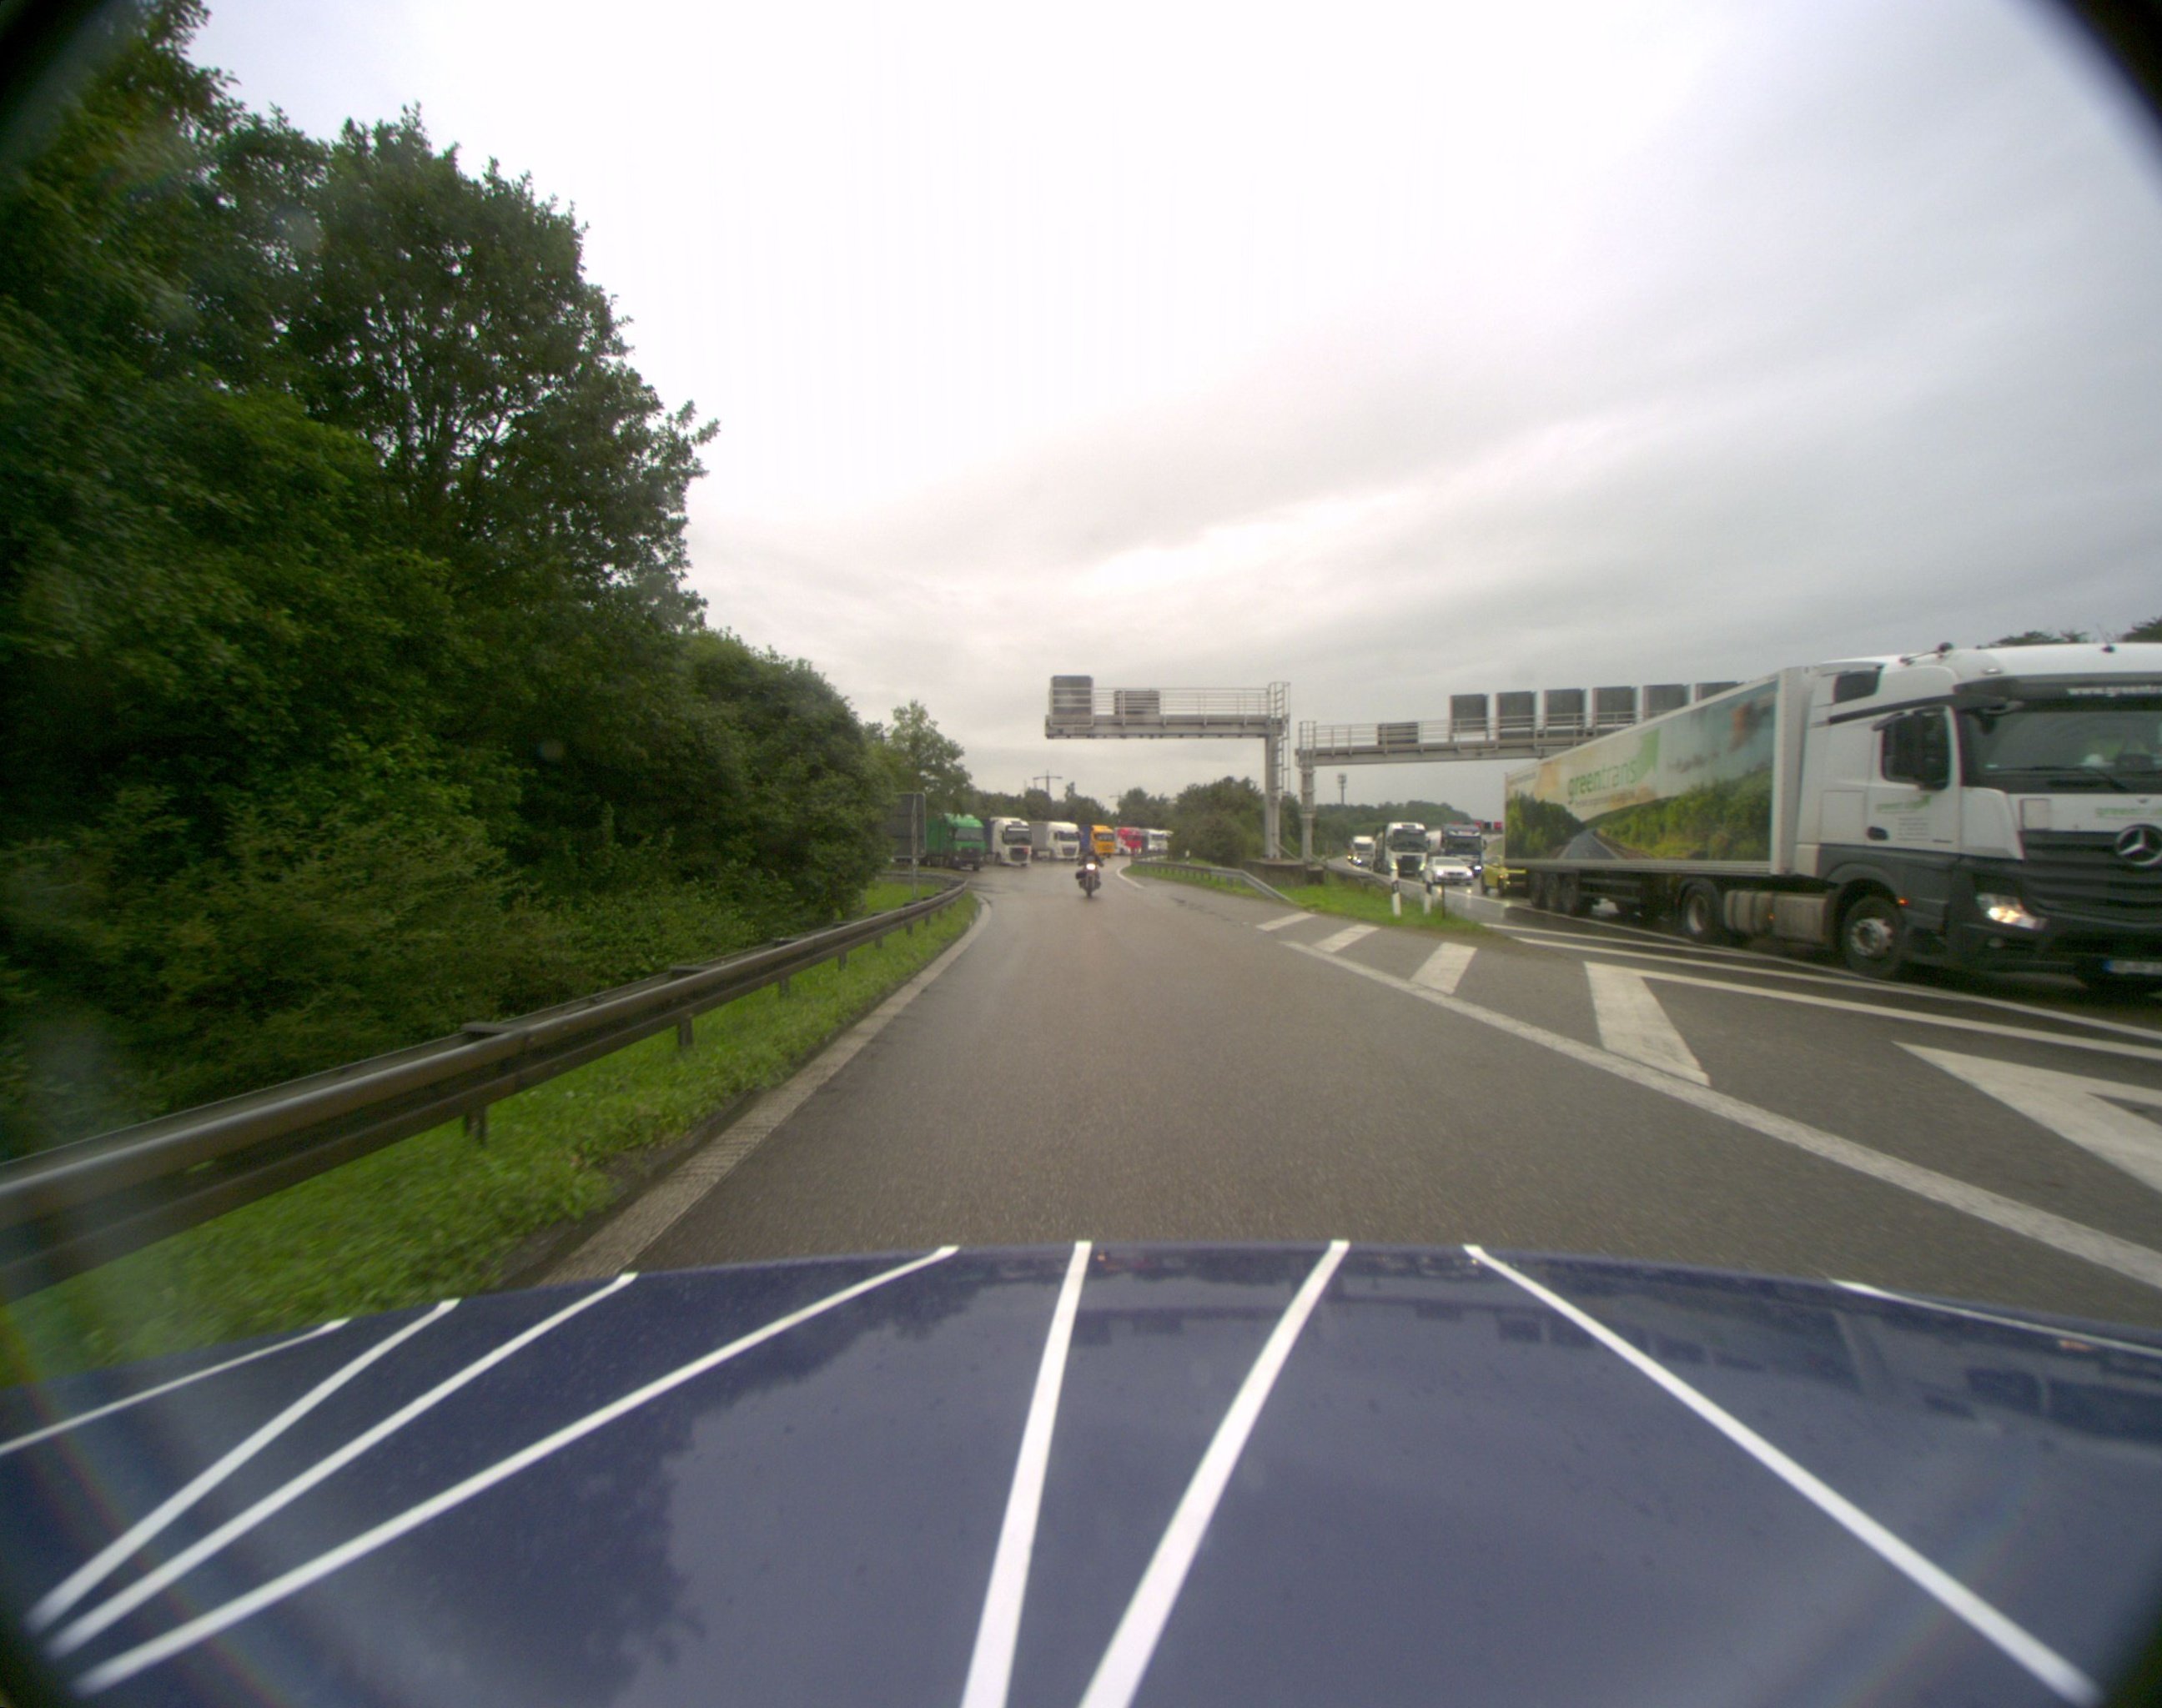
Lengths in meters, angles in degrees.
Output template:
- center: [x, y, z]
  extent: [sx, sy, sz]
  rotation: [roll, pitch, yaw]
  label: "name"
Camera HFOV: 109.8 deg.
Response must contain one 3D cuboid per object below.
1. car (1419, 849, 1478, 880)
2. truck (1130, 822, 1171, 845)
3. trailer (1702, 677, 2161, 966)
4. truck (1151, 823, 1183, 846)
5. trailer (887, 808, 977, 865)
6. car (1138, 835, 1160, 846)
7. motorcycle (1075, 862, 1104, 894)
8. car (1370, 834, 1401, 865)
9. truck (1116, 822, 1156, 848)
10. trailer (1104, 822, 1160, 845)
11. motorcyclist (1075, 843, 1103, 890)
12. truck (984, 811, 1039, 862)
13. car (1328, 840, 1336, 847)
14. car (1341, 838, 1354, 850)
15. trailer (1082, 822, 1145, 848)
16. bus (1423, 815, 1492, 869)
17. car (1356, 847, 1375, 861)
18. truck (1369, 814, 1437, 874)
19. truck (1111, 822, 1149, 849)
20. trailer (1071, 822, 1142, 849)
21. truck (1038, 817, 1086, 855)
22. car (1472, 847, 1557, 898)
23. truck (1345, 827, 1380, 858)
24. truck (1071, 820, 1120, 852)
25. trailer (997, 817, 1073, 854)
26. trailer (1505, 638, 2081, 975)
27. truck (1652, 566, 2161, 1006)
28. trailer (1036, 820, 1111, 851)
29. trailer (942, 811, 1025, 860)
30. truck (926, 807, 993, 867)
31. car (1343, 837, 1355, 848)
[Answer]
- center: [19.435, 0.502, 40.383]
  extent: [1.930, 1.514, 4.767]
  rotation: [0, 1, 14]
  label: "car"
- center: [12.662, -3.784, 139.302]
  extent: [3.251, 4.068, 7.917]
  rotation: [-1, 2, -31]
  label: "truck"
- center: [16.559, -0.456, 13.644]
  extent: [2.630, 3.842, 13.689]
  rotation: [1, 1, 14]
  label: "trailer"
- center: [16.657, -3.827, 147.383]
  extent: [3.251, 4.362, 5.798]
  rotation: [-2, 2, -31]
  label: "truck"
- center: [-12.401, -1.464, 61.648]
  extent: [2.831, 4.127, 13.931]
  rotation: [-1, 2, -30]
  label: "trailer"
- center: [11.880, -2.319, 133.225]
  extent: [1.851, 1.848, 3.990]
  rotation: [-2, 2, -29]
  label: "car"
- center: [0.262, 0.805, 26.130]
  extent: [0.878, 1.016, 2.352]
  rotation: [0, 1, -2]
  label: "motorcycle"
- center: [29.483, -0.485, 73.694]
  extent: [2.365, 2.628, 6.904]
  rotation: [-3, 1, 20]
  label: "car"
- center: [8.306, -2.893, 115.508]
  extent: [2.904, 3.897, 6.538]
  rotation: [-1, 2, -31]
  label: "truck"
- center: [9.529, -3.929, 144.442]
  extent: [3.251, 4.068, 13.497]
  rotation: [-1, 2, -31]
  label: "trailer"
- center: [0.272, 0.423, 26.023]
  extent: [0.878, 1.559, 1.372]
  rotation: [0, 1, -2]
  label: "motorcyclist"
- center: [-5.961, -1.535, 64.771]
  extent: [2.831, 4.123, 5.289]
  rotation: [-1, 2, -29]
  label: "truck"
- center: [64.123, -2.667, 194.393]
  extent: [1.816, 1.747, 4.691]
  rotation: [0, 1, 16]
  label: "car"
- center: [48.109, -1.836, 137.067]
  extent: [1.996, 2.150, 4.449]
  rotation: [0, 1, 17]
  label: "car"
- center: [4.950, -3.120, 120.972]
  extent: [2.881, 3.897, 13.898]
  rotation: [-1, 2, -31]
  label: "trailer"
- center: [29.527, -1.016, 60.115]
  extent: [2.898, 3.747, 10.439]
  rotation: [-3, 1, 16]
  label: "bus"
- center: [35.149, -0.021, 93.894]
  extent: [1.816, 1.674, 4.004]
  rotation: [-1, 1, 16]
  label: "car"
- center: [25.031, -0.914, 59.767]
  extent: [3.351, 4.047, 12.584]
  rotation: [-3, 1, 16]
  label: "truck"
- center: [7.136, -2.705, 110.699]
  extent: [3.251, 3.897, 5.008]
  rotation: [-1, 2, -31]
  label: "truck"
- center: [3.626, -2.921, 116.443]
  extent: [3.251, 3.897, 14.791]
  rotation: [-1, 2, -31]
  label: "trailer"
- center: [-2.083, -1.877, 79.796]
  extent: [2.835, 3.891, 5.397]
  rotation: [-1, 2, -29]
  label: "truck"
- center: [16.785, 0.650, 29.637]
  extent: [1.796, 1.783, 4.243]
  rotation: [0, 1, 14]
  label: "car"
- center: [39.144, -1.683, 105.907]
  extent: [3.533, 3.826, 9.444]
  rotation: [-3, 1, 15]
  label: "truck"
- center: [1.784, -2.316, 97.802]
  extent: [2.844, 3.897, 8.110]
  rotation: [-1, 2, -27]
  label: "truck"
- center: [-5.518, -2.130, 85.955]
  extent: [2.849, 3.897, 13.919]
  rotation: [-1, 2, -29]
  label: "trailer"
- center: [12.684, -0.708, 16.382]
  extent: [2.922, 4.181, 13.649]
  rotation: [1, 1, 15]
  label: "trailer"
- center: [11.011, -0.678, 10.262]
  extent: [2.922, 4.076, 6.725]
  rotation: [1, 1, 15]
  label: "truck"
- center: [-1.325, -2.605, 103.696]
  extent: [2.873, 3.897, 16.592]
  rotation: [-1, 2, -28]
  label: "trailer"
- center: [-9.417, -1.773, 71.128]
  extent: [2.831, 4.148, 13.959]
  rotation: [-1, 2, -29]
  label: "trailer"
- center: [-8.972, -1.256, 55.640]
  extent: [2.831, 4.127, 5.982]
  rotation: [-1, 2, -30]
  label: "truck"
- center: [45.667, -1.986, 129.604]
  extent: [1.816, 1.747, 4.691]
  rotation: [-1, 1, 17]
  label: "car"
